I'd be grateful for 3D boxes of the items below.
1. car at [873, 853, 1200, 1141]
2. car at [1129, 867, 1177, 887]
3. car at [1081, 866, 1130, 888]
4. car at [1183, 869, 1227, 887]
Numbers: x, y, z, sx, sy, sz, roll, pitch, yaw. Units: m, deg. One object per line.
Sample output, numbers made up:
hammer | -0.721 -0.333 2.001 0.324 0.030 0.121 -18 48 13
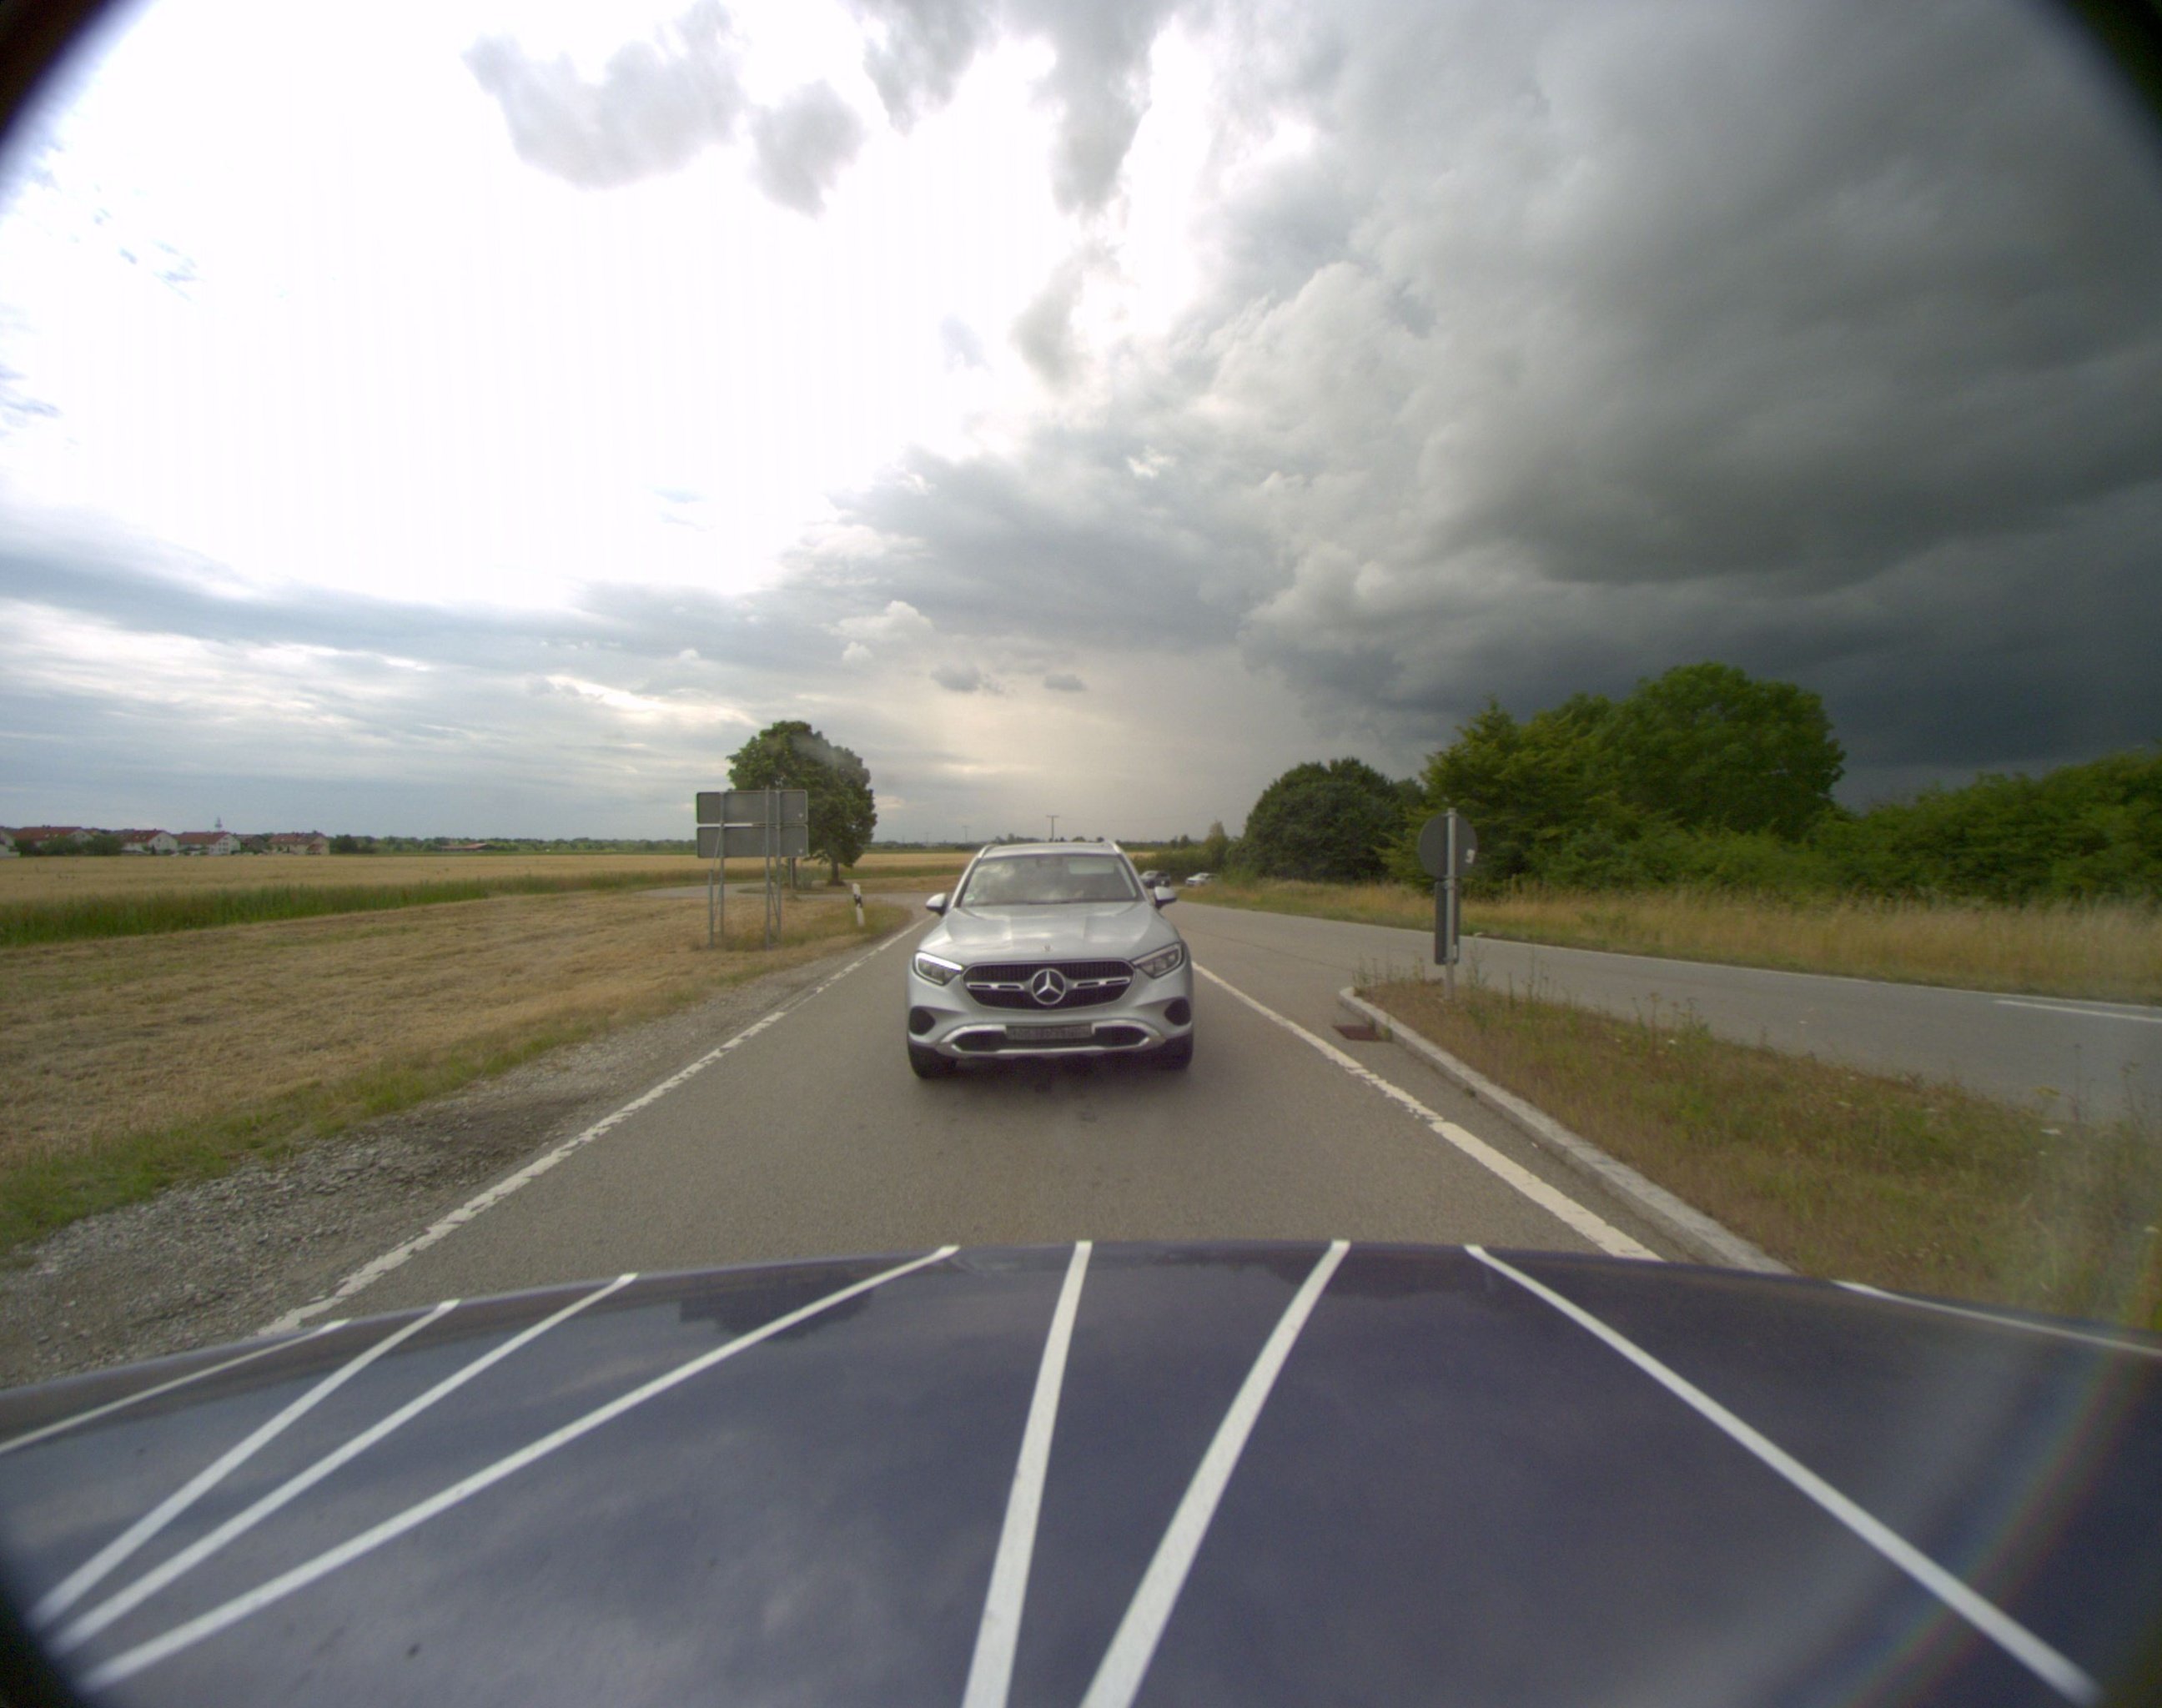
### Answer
car | -0.354 0.801 6.507 1.837 1.577 4.448 0 1 -3
car | 7.050 2.164 73.885 1.994 1.710 5.220 3 2 40
car | 2.078 1.922 63.278 1.994 1.709 5.219 3 0 26
car | 13.270 2.489 81.348 1.994 1.710 5.220 3 2 44
